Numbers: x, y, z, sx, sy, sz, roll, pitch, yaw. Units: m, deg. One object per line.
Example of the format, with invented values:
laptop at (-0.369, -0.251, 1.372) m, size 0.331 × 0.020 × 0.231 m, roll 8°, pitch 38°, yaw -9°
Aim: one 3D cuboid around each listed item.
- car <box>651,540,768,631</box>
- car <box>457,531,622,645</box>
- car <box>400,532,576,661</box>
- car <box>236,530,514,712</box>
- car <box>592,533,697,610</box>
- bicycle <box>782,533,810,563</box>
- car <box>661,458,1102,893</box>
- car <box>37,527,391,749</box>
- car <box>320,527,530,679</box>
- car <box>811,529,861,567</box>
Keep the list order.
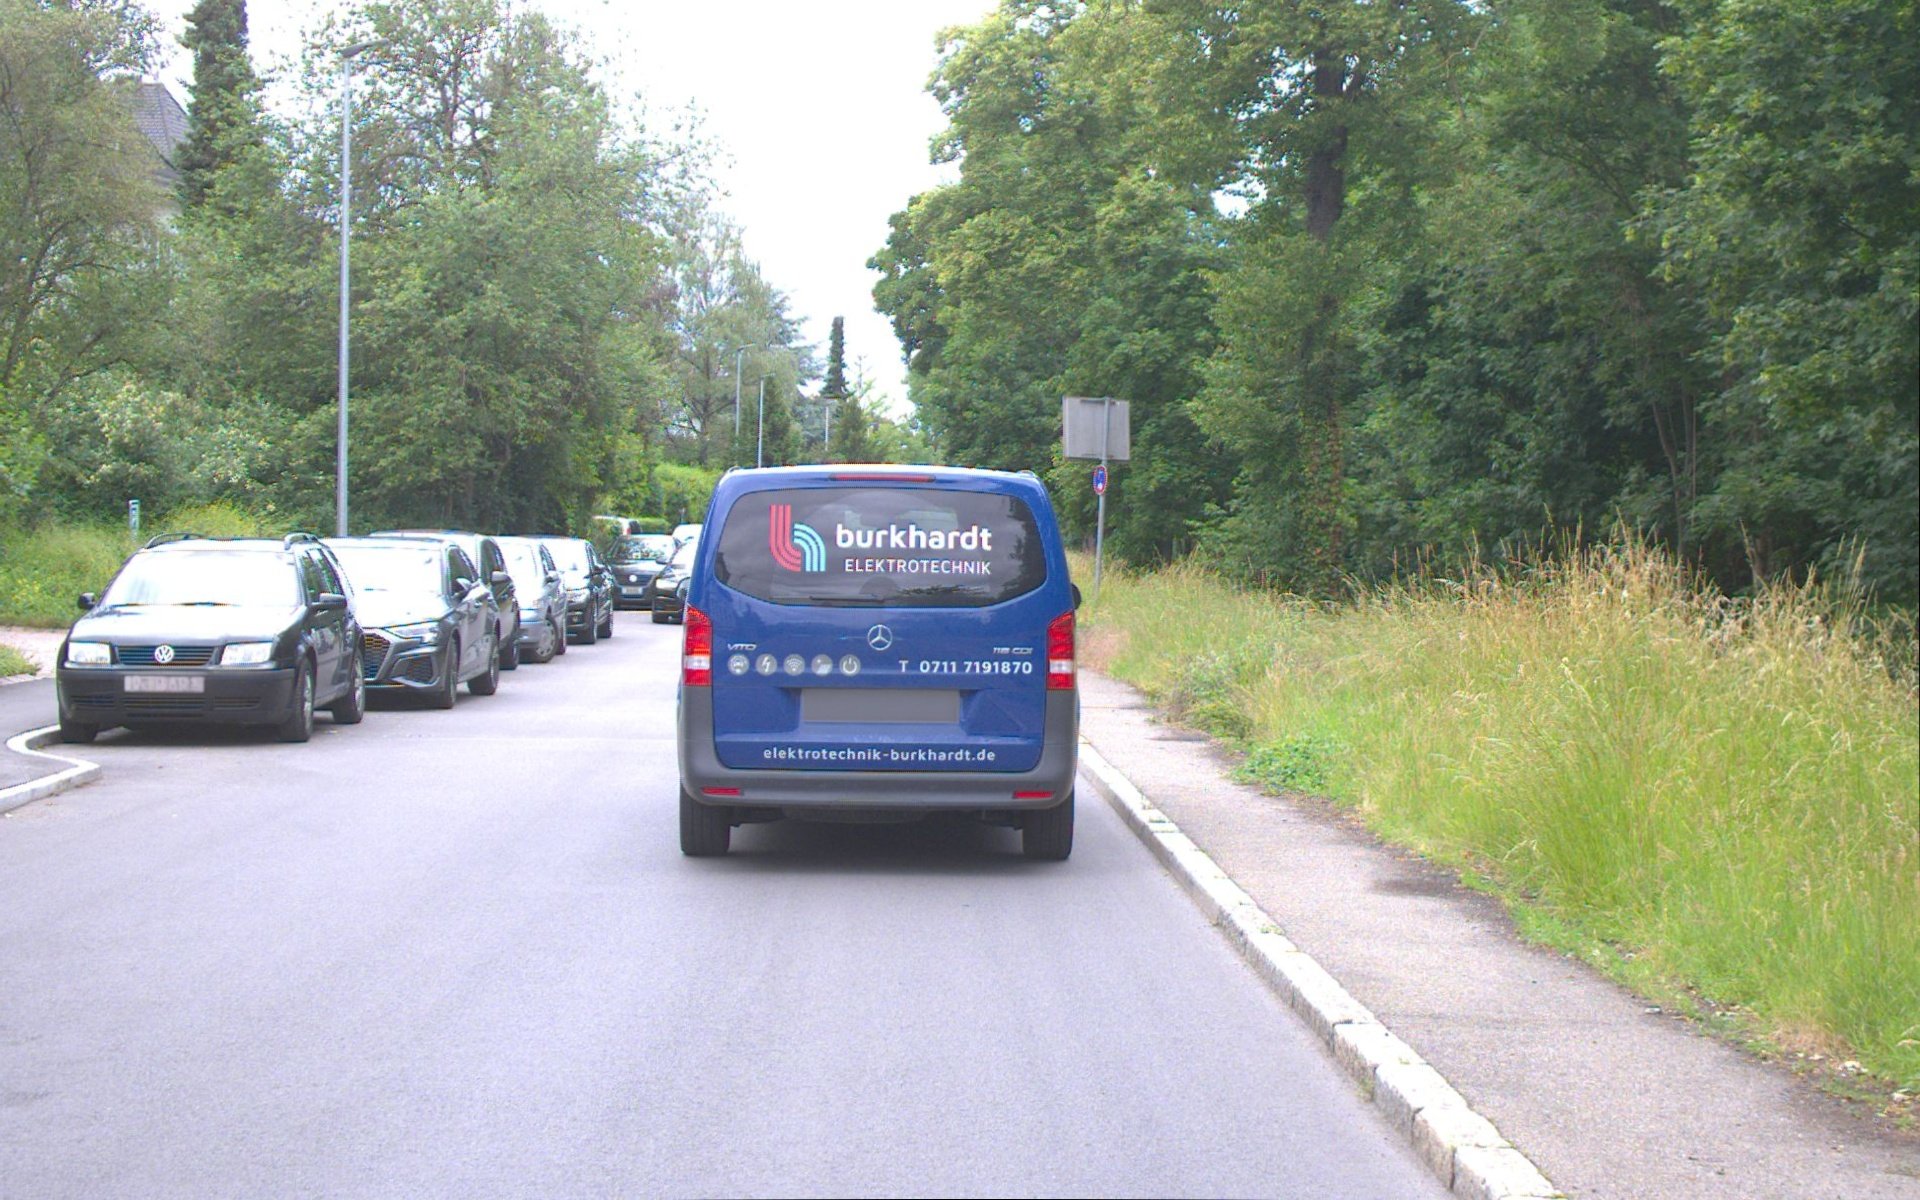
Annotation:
car at (-4.243, -0.280, 58.711) m, size 1.780 × 1.421 × 4.490 m, roll 2°, pitch 1°, yaw -2°
car at (-5.694, -0.207, 47.104) m, size 1.778 × 1.427 × 5.106 m, roll 2°, pitch 1°, yaw -2°
car at (-5.525, -0.084, 40.617) m, size 1.624 × 1.427 × 4.352 m, roll 1°, pitch 1°, yaw -2°
car at (-5.099, 0.127, 30.506) m, size 1.706 × 1.477 × 4.496 m, roll 1°, pitch 1°, yaw 0°
car at (-6.146, -0.575, 67.320) m, size 1.623 × 1.445 × 3.969 m, roll 1°, pitch 1°, yaw 1°
bicycle at (-7.354, -2.326, 154.598) m, size 0.906 × 1.247 × 2.916 m, roll 4°, pitch 1°, yaw 2°
car at (-0.458, 0.258, 17.277) m, size 1.888 × 1.837 × 4.001 m, roll 2°, pitch 3°, yaw -3°
car at (-5.418, 0.212, 25.532) m, size 1.682 × 1.477 × 4.693 m, roll 1°, pitch 1°, yaw -1°
car at (-5.499, -0.009, 35.724) m, size 1.624 × 1.477 × 4.000 m, roll 1°, pitch 1°, yaw -1°
car at (-5.663, -2.383, 157.467) m, size 1.836 × 1.625 × 4.300 m, roll 3°, pitch 1°, yaw 2°
